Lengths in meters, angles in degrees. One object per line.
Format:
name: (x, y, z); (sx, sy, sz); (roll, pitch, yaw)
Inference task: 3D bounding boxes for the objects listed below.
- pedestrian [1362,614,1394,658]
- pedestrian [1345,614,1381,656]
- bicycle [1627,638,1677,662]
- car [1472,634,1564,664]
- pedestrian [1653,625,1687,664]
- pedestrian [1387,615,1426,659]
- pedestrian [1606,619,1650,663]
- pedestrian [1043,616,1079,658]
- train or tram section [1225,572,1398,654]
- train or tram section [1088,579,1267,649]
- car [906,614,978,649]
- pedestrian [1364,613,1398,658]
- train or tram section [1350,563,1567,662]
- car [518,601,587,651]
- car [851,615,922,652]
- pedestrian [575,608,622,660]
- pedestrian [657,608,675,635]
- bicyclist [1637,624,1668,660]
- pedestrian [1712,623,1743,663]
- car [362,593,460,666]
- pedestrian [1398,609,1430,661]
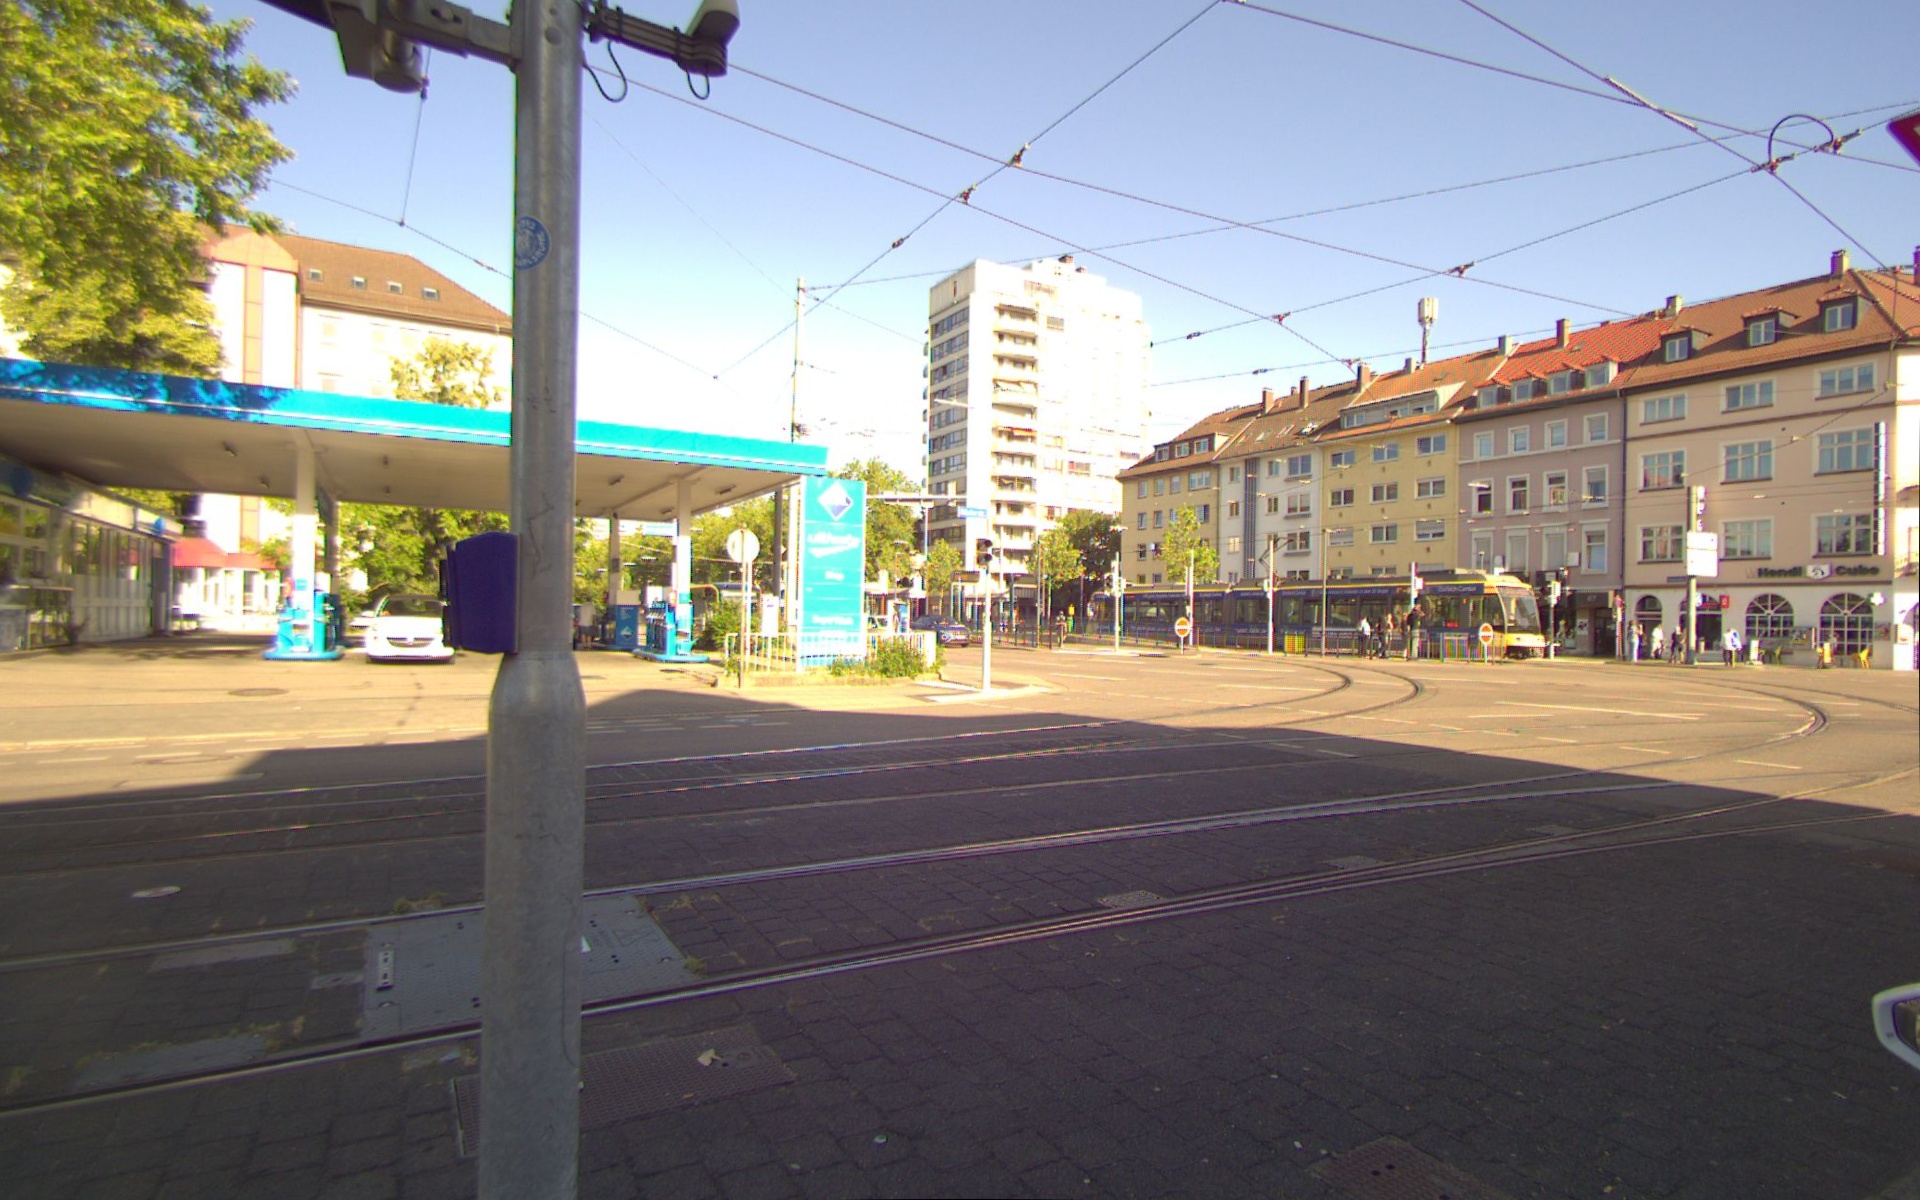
pedestrian: (15.663, 1.341, 37.639); (0.922, 1.619, 1.010); (1, -1, 12)
pedestrian: (15.743, 1.354, 39.256); (0.925, 1.619, 1.007); (1, -1, -13)
bicycle: (35.966, 2.578, 52.234); (0.623, 1.197, 2.081); (1, -1, -29)
car: (30.426, 2.637, 54.911); (1.977, 1.472, 3.966); (1, -1, -31)
pedestrian: (34.069, 2.128, 48.207); (0.926, 1.798, 1.006); (1, -1, -15)
pedestrian: (16.604, 1.370, 37.363); (0.924, 1.619, 1.008); (1, -1, -9)
pedestrian: (26.643, 1.615, 40.073); (1.091, 1.707, 1.075); (1, -1, -30)
pedestrian: (4.577, 1.666, 45.524); (1.156, 1.870, 1.098); (2, -1, -28)
train or tram section: (16.388, 0.619, 47.662); (2.784, 3.546, 8.413); (1, -1, -23)
train or tram section: (11.879, 0.773, 56.777); (2.745, 3.546, 11.939); (1, -1, -29)
car: (-0.910, 1.491, 48.293); (1.863, 1.601, 3.971); (1, -1, -28)
pedestrian: (15.393, 1.293, 36.747); (0.922, 1.619, 1.010); (1, -1, 8)
train or tram section: (19.626, 0.515, 40.231); (2.784, 3.546, 7.918); (1, -1, -23)
car: (-13.454, 0.838, 33.022); (1.725, 1.431, 4.061); (5, -2, -26)
car: (-3.479, 1.528, 46.743); (1.863, 1.601, 3.971); (1, -1, -28)
pedestrian: (-11.636, 1.086, 32.362); (1.141, 1.647, 0.812); (1, -1, 23)
pedestrian: (-17.455, 1.270, 59.679); (0.907, 1.595, 0.959); (1, -1, -23)
bicyclist: (35.979, 2.183, 52.196); (0.740, 1.798, 1.159); (1, -1, -31)
pedestrian: (35.152, 1.955, 46.023); (0.991, 1.798, 0.940); (0, -1, 28)
car: (-12.321, 0.638, 22.521); (1.760, 1.483, 3.968); (1, -1, -30)
pedestrian: (16.196, 1.242, 35.851); (0.923, 1.798, 1.009); (1, -1, 20)
